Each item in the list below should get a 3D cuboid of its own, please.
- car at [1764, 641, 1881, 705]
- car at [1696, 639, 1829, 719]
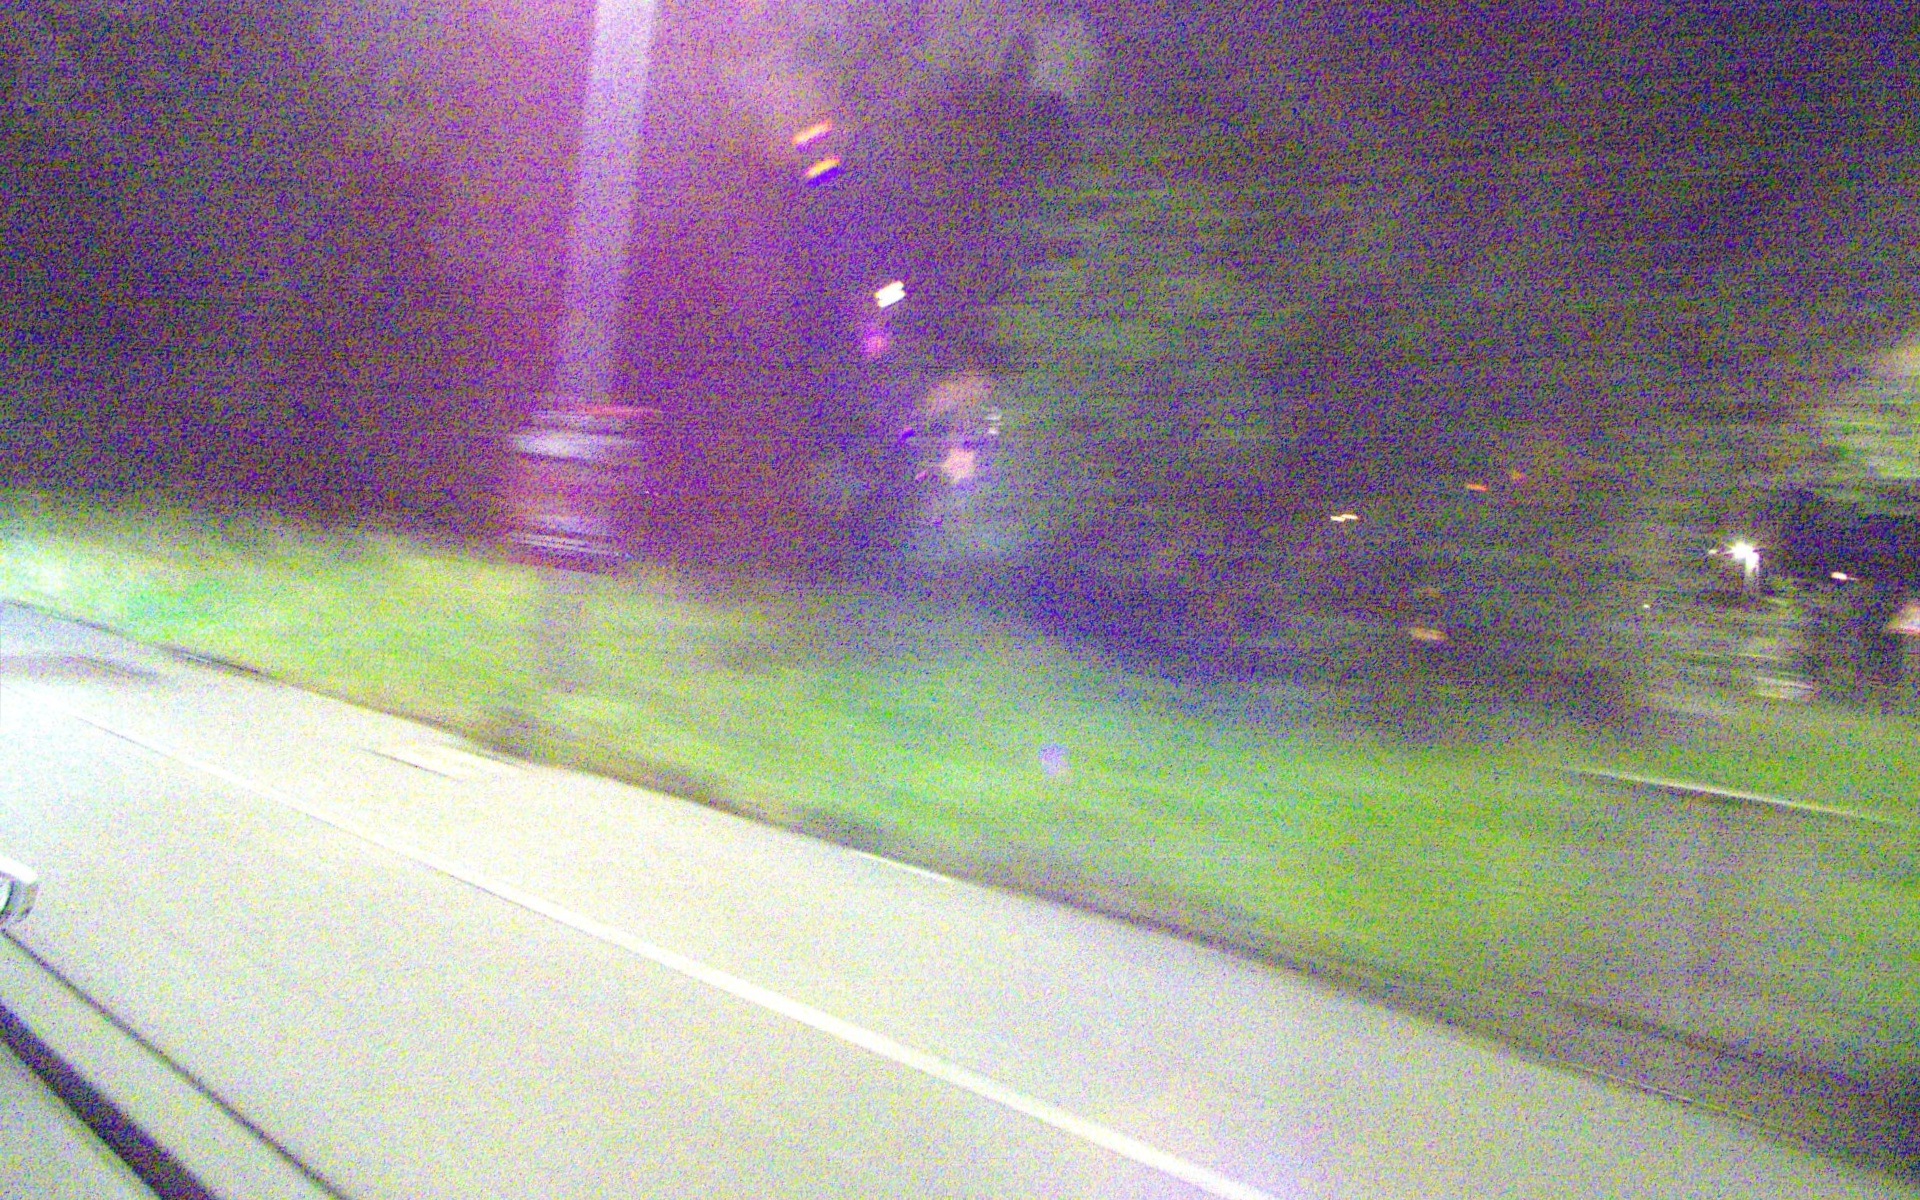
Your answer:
[{"bbox_3d":[28.408,2.337,33.300,1.924,1.761,4.200,7,1,29],"label":"car"},{"bbox_3d":[21.396,2.038,27.031,1.924,1.761,4.200,7,1,29],"label":"car"}]
